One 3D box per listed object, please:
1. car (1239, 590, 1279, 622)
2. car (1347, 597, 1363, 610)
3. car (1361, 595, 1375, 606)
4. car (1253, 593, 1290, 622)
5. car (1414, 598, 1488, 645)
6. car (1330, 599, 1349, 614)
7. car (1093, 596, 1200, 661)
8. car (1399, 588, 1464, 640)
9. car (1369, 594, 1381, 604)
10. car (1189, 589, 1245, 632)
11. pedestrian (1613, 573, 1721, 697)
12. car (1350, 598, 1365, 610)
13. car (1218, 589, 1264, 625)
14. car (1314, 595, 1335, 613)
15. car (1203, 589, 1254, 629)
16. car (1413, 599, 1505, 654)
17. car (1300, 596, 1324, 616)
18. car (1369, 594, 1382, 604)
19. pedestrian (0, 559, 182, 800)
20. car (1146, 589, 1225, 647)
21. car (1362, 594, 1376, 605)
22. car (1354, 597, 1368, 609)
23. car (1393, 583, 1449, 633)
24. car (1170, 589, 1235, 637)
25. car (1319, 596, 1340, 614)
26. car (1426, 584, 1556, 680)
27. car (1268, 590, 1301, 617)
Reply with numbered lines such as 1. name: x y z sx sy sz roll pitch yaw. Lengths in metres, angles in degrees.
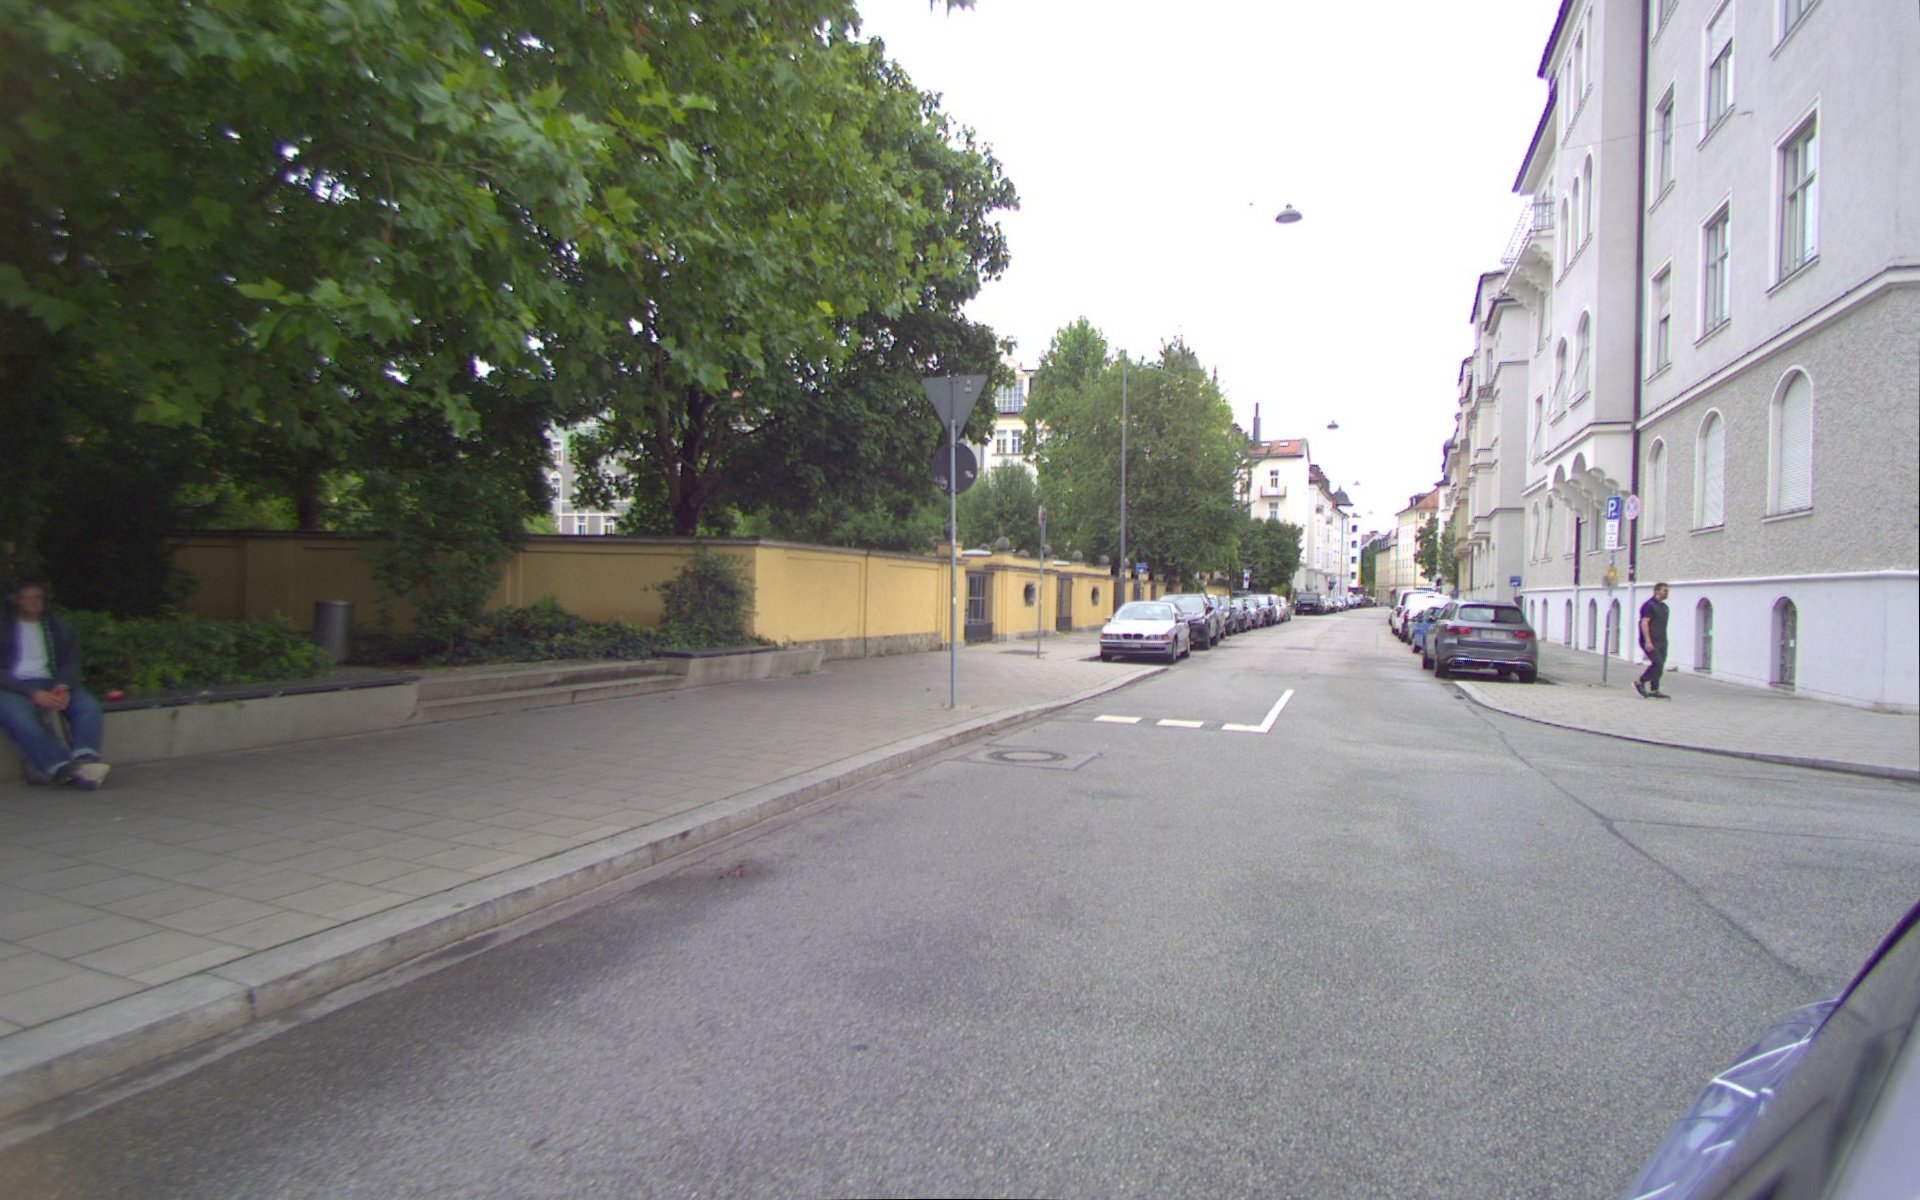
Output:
1. car: 15.474 0.278 52.290 1.774 1.566 3.282 1 0 20
2. car: 49.986 0.413 128.122 1.774 1.566 3.586 1 1 20
3. car: 61.296 0.045 152.035 1.774 1.566 3.586 1 1 20
4. car: 17.606 0.400 57.136 1.774 1.566 3.282 1 0 20
5. car: 16.329 0.664 33.811 1.775 1.422 3.815 1 1 19
6. car: 39.797 0.656 106.081 1.774 1.566 3.586 1 1 20
7. car: 4.633 0.619 24.645 1.779 1.385 4.434 1 1 21
8. car: 17.590 0.485 37.906 1.775 1.806 3.815 1 1 19
9. car: 68.486 -0.175 167.062 1.774 1.566 3.586 1 1 20
10. car: 10.009 0.389 39.328 1.774 1.566 3.282 1 0 20
11. pedestrian: 10.725 0.508 15.380 0.979 1.823 0.932 1 0 -19
12. car: 54.635 0.536 139.000 1.774 1.566 3.586 1 1 20
13. car: 13.045 0.293 46.913 1.774 1.566 3.282 1 0 20
14. car: 32.844 0.365 91.208 1.774 1.566 3.586 1 1 20
15. car: 11.325 0.349 42.550 1.774 1.566 3.282 1 0 20
16. car: 14.391 0.705 29.416 1.869 1.422 4.224 1 1 19
17. car: 28.487 0.468 81.877 1.774 1.566 3.586 1 1 20
18. car: 66.058 -0.104 160.902 1.774 1.566 3.586 1 1 20
19. pedestrian: -5.659 0.442 6.347 1.118 1.374 0.766 1 0 22
20. car: 6.762 0.480 30.049 1.774 1.566 3.931 1 1 20
21. car: 63.109 -0.119 156.253 1.774 1.566 3.586 1 1 20
22. car: 56.655 0.395 142.995 1.774 1.566 3.586 1 1 20
23. car: 19.833 0.303 43.705 1.796 2.061 4.009 1 1 19
24. car: 8.625 0.406 35.836 1.774 1.566 3.931 1 1 20
25. car: 34.718 0.443 95.036 1.774 1.566 3.586 1 1 20
26. car: 11.251 0.588 21.731 1.869 1.818 4.223 1 1 20
27. car: 19.792 0.199 61.602 1.774 1.566 3.282 1 0 20
